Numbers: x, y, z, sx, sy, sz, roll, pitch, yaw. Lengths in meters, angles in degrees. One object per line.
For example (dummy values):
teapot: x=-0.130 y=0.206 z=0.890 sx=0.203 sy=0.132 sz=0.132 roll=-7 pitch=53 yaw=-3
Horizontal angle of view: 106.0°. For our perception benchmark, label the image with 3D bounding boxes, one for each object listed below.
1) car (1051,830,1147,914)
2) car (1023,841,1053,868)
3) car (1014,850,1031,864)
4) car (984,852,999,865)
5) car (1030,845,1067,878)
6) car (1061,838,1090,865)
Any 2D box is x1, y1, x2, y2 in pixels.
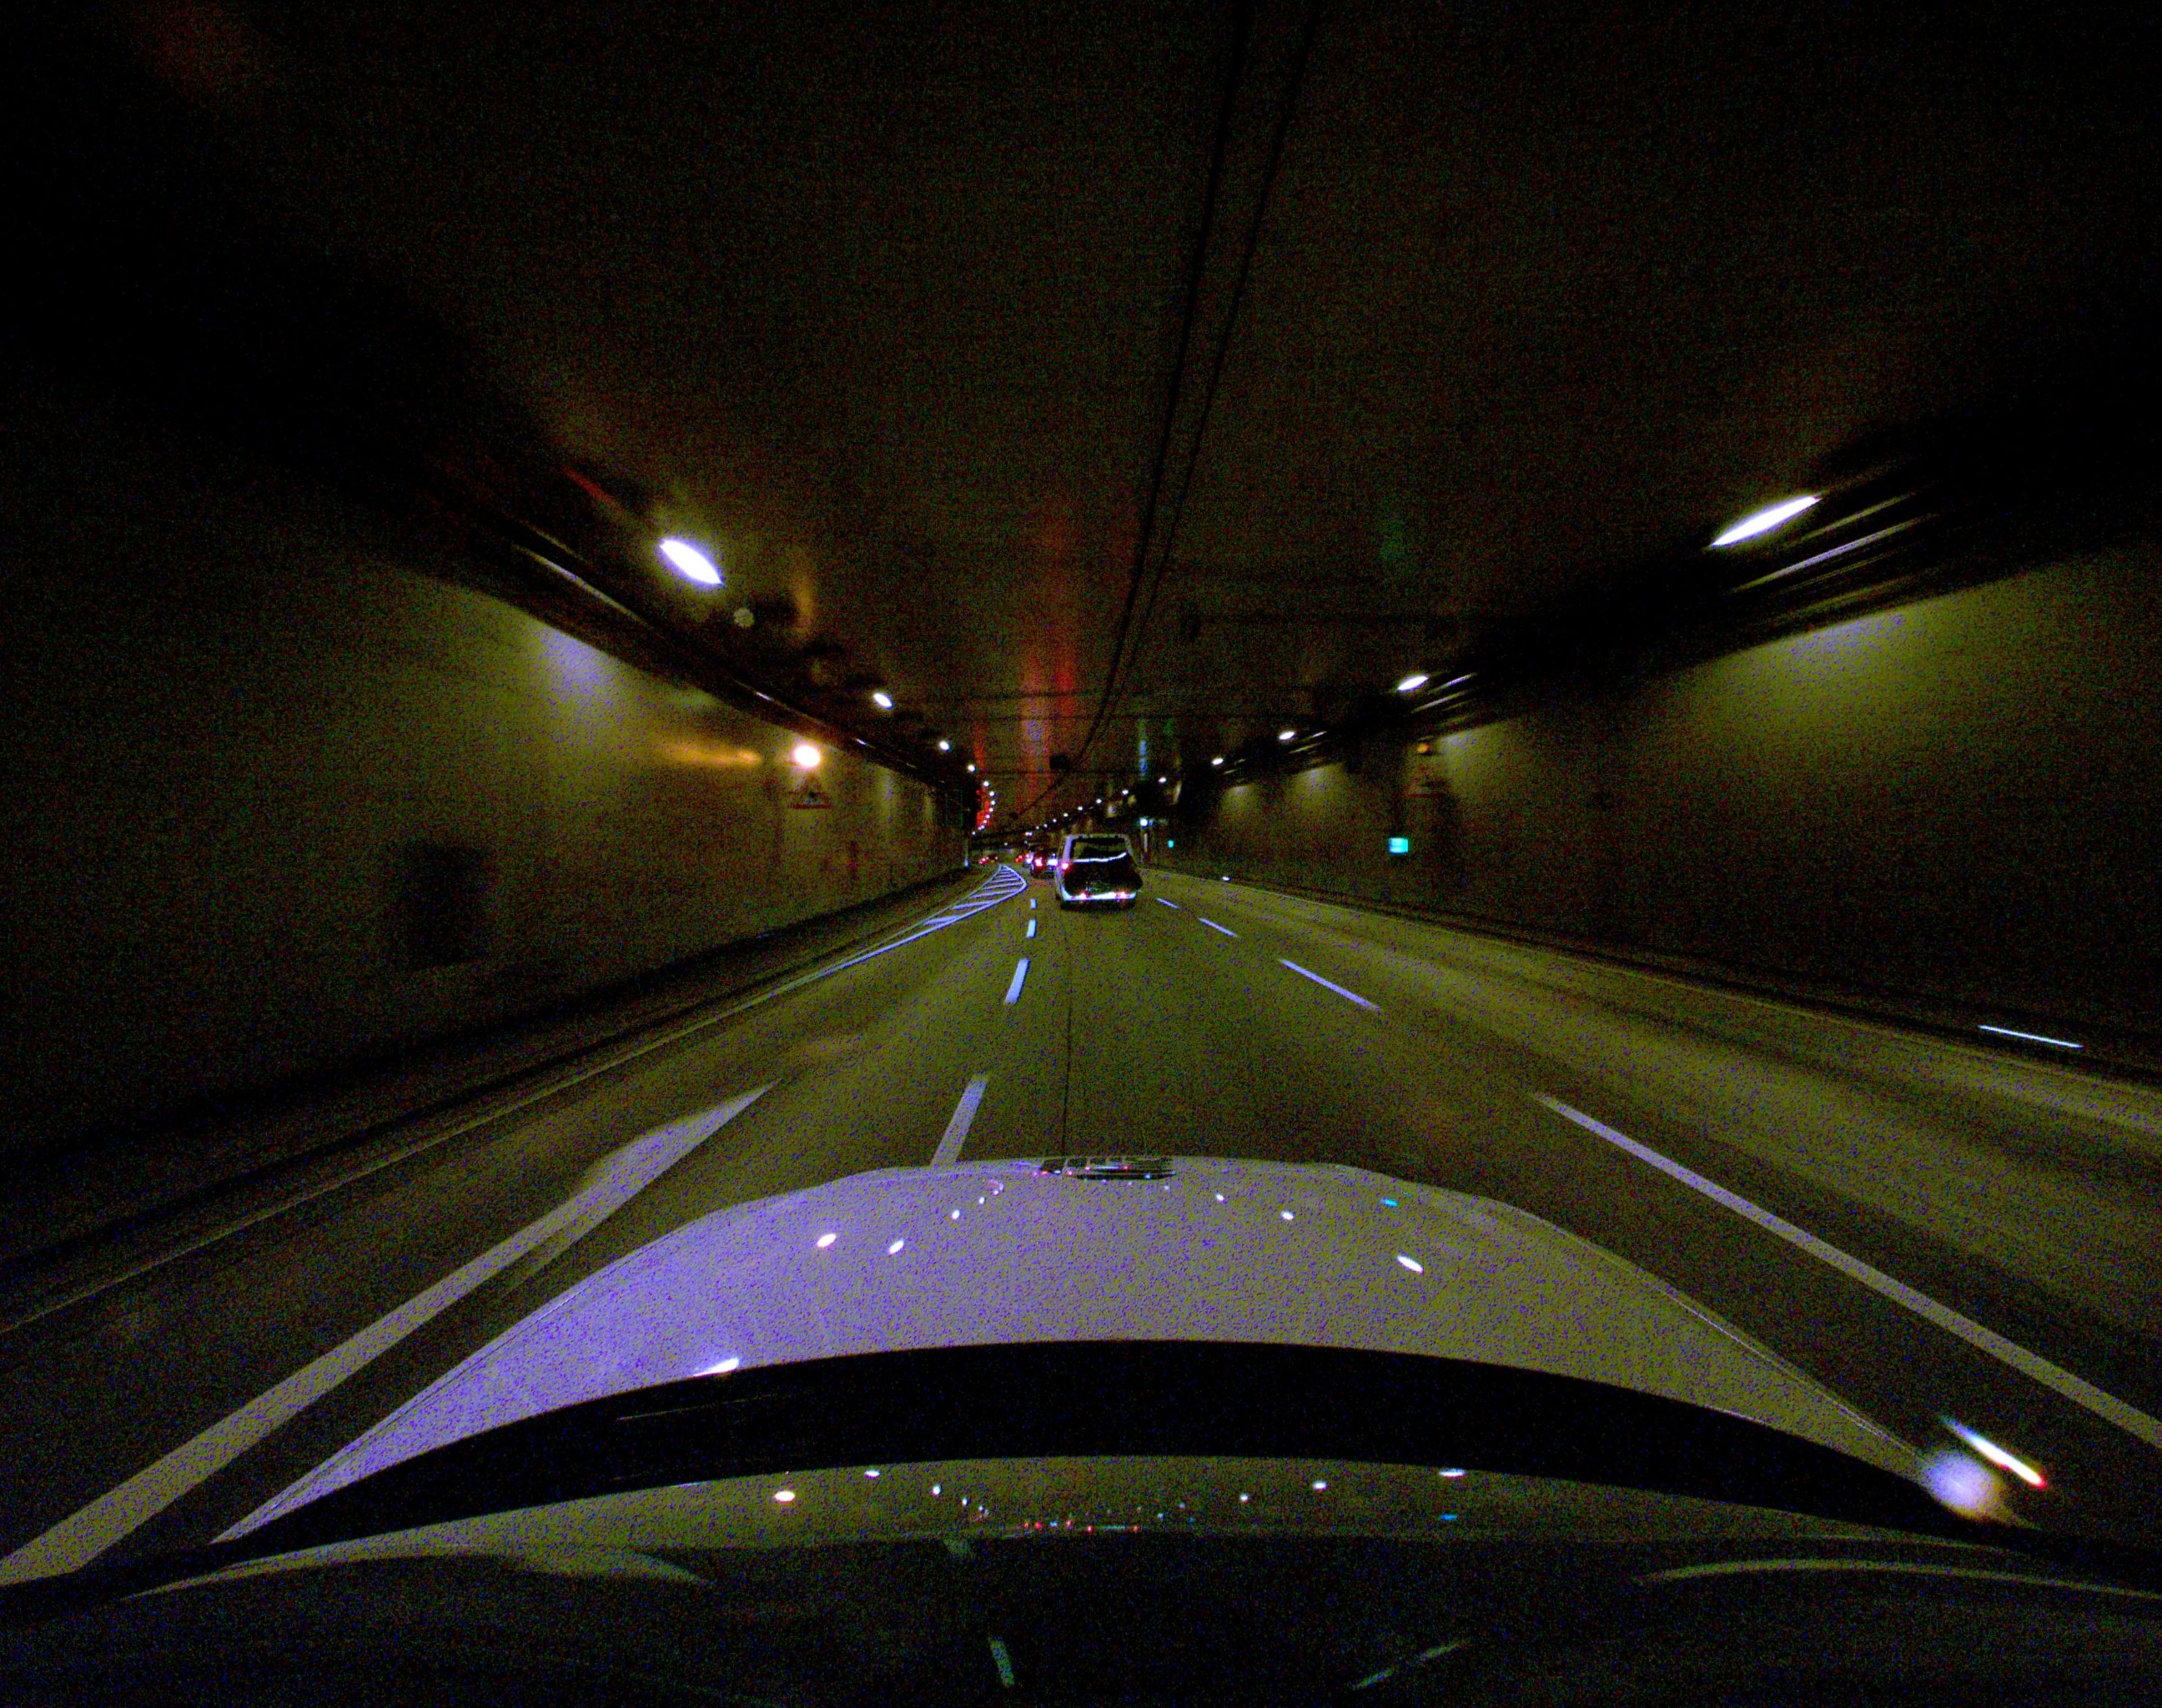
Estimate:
car: x=0.321 y=0.360 z=21.084 sx=1.990 sy=1.847 sz=5.294 roll=-2 pitch=1 yaw=-4
car: x=-2.716 y=0.042 z=50.572 sx=1.602 sy=1.594 sz=3.346 roll=0 pitch=-1 yaw=-8
car: x=-7.529 y=0.418 z=104.937 sx=1.822 sy=1.630 sz=3.831 roll=1 pitch=-2 yaw=-9
car: x=-12.060 y=0.644 z=109.703 sx=1.822 sy=1.630 sz=3.830 roll=1 pitch=-2 yaw=-9
car: x=-1.509 y=0.302 z=36.963 sx=1.599 sy=1.395 sz=3.273 roll=0 pitch=1 yaw=-3
car: x=-0.427 y=-0.158 z=58.739 sx=1.869 sy=1.762 sz=3.993 roll=1 pitch=-2 yaw=-4
